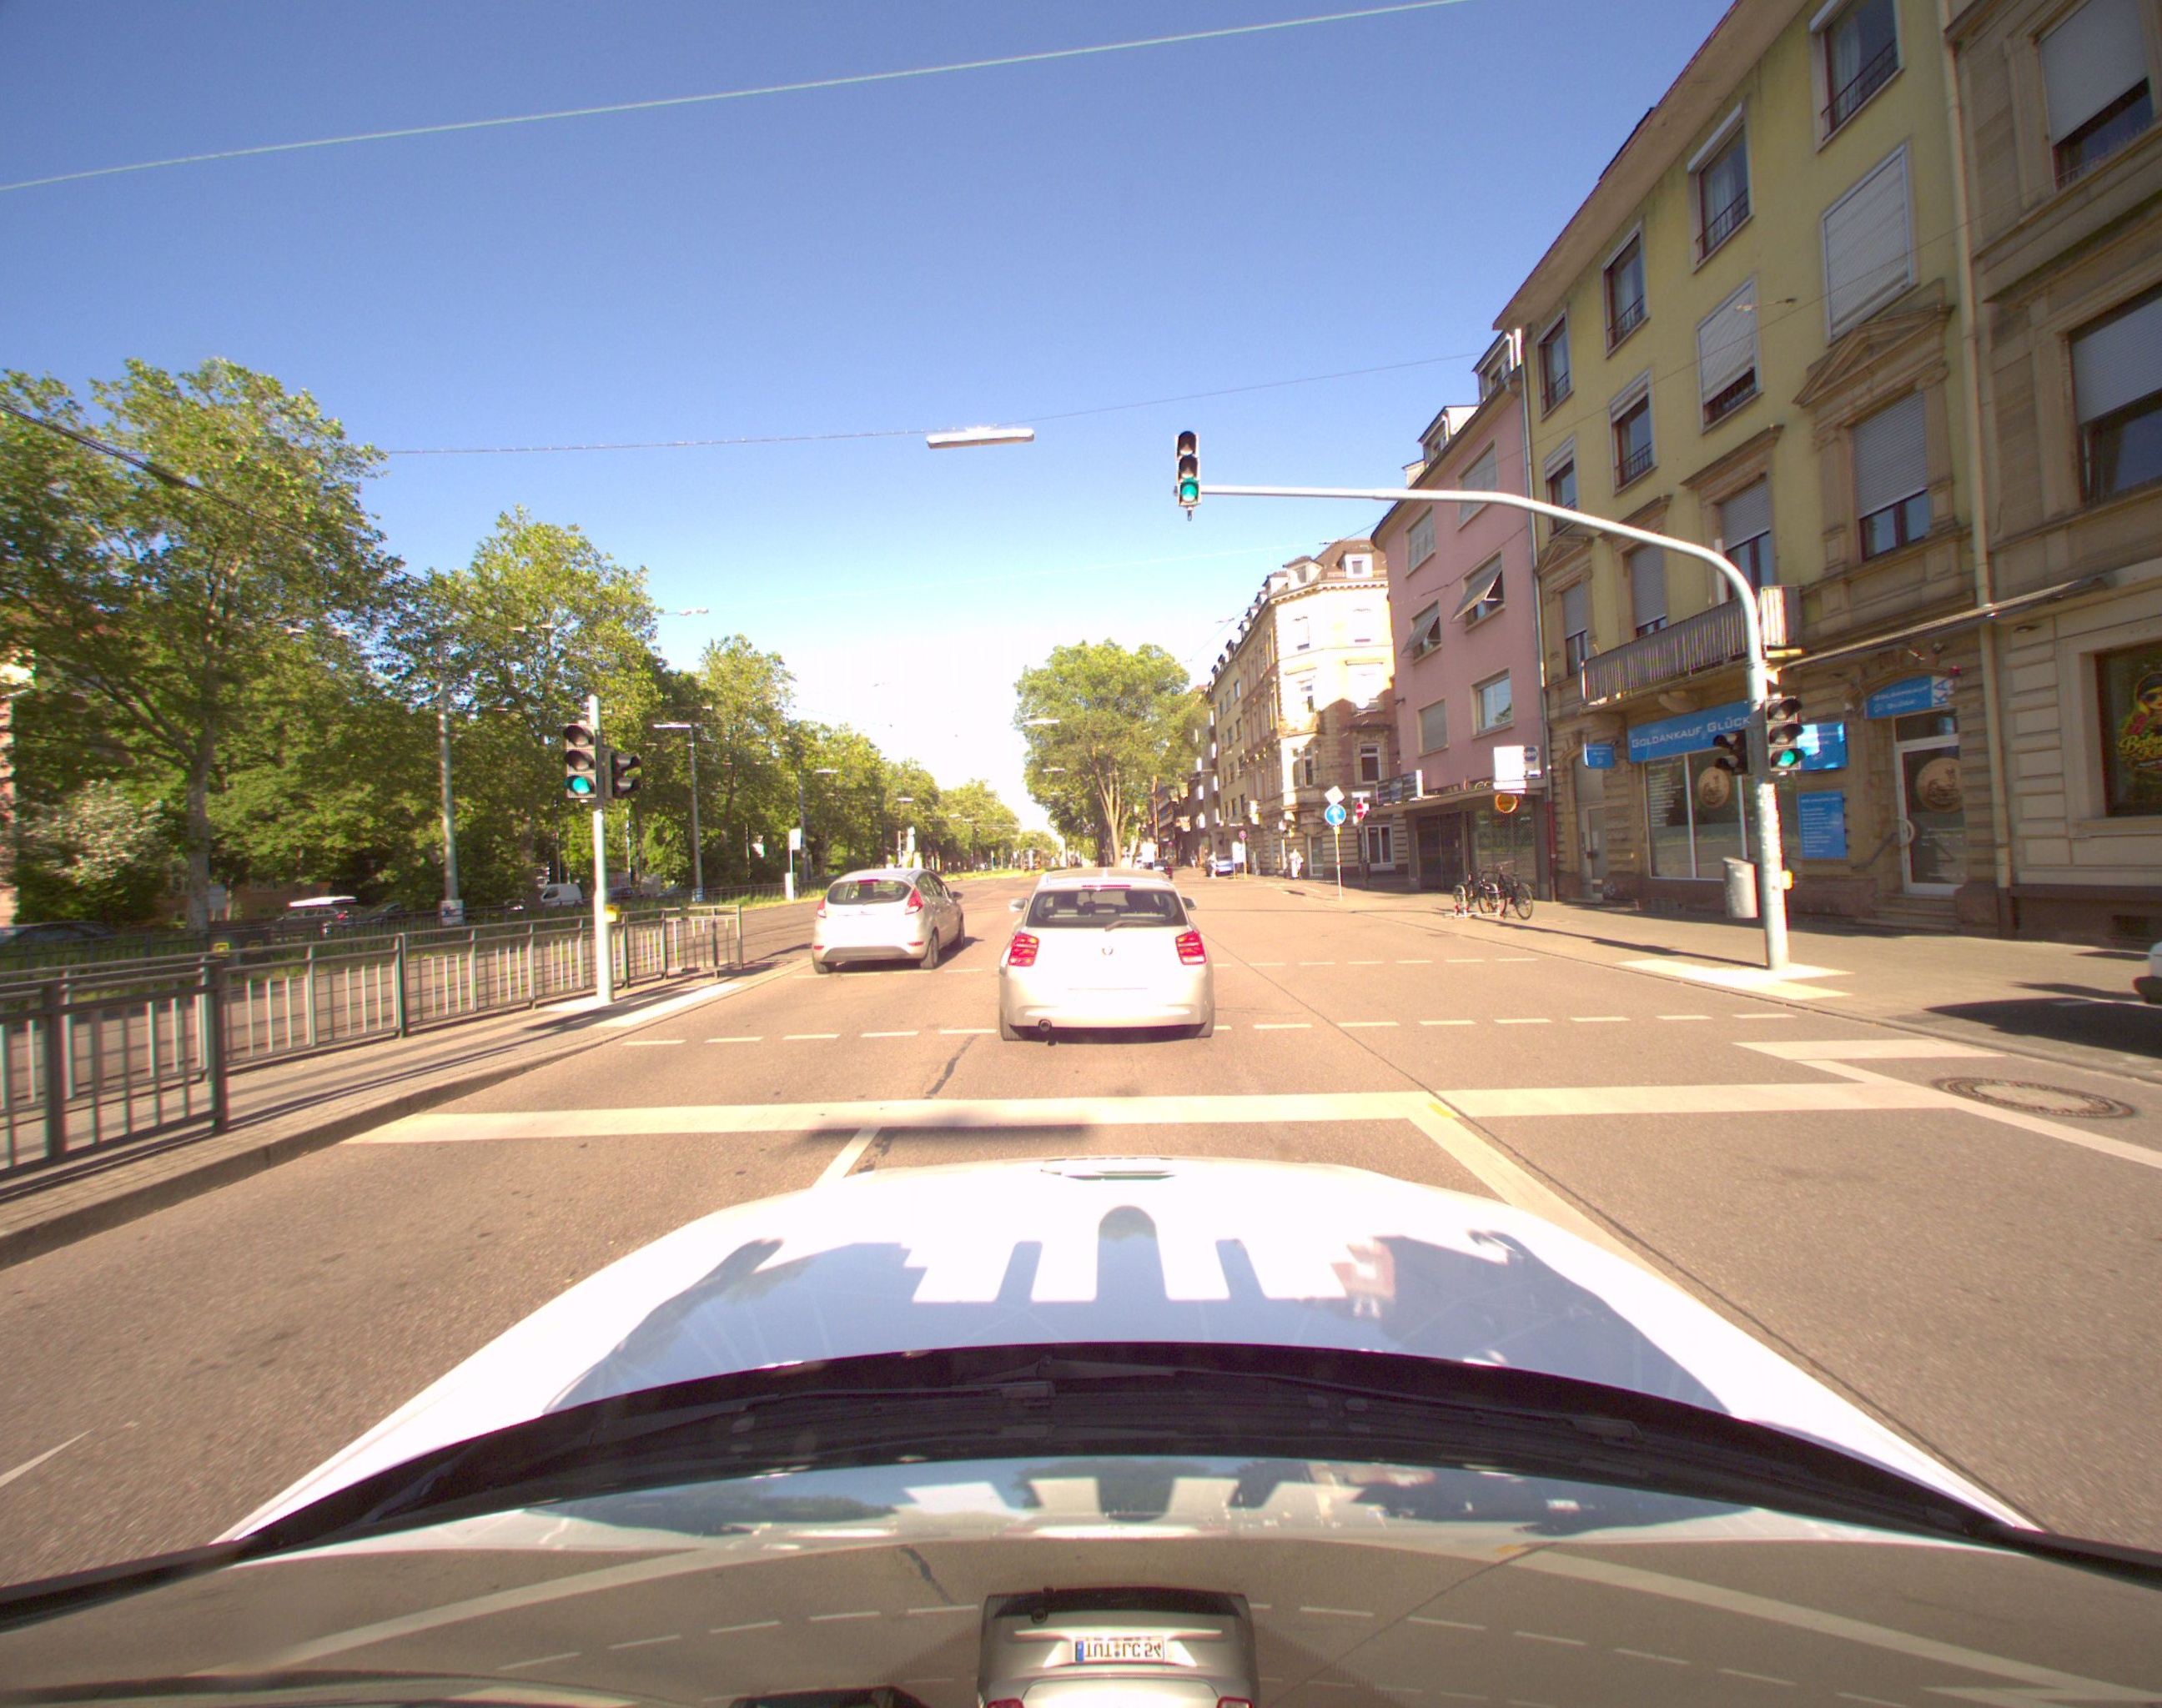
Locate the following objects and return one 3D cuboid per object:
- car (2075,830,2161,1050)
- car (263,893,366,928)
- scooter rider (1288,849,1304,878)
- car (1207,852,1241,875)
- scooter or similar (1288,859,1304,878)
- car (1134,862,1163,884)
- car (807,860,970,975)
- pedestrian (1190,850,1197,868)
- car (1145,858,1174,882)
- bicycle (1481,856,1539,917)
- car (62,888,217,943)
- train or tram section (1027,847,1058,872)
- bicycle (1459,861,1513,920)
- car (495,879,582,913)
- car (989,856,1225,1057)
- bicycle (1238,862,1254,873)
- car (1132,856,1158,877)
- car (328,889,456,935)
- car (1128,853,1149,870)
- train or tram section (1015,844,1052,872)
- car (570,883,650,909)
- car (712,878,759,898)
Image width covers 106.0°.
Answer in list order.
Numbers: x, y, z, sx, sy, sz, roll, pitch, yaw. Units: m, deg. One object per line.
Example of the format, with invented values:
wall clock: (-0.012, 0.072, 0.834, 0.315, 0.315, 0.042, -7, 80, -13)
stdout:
car: (7.804, 0.505, 3.730, 1.557, 1.415, 4.005, -6, 0, 1)
car: (-38.375, 2.826, 40.824, 3.968, 1.494, 1.395, -3, 0, 5)
scooter rider: (11.235, 0.490, 42.596, 0.465, 1.505, 0.809, -2, 0, -6)
car: (10.044, 0.648, 57.441, 1.729, 1.519, 3.637, -1, 0, 1)
scooter or similar: (11.240, 0.754, 42.659, 0.337, 0.988, 1.281, -2, 0, -7)
car: (4.726, 1.295, 57.240, 1.738, 1.433, 3.554, -1, 0, 0)
car: (-2.829, 0.856, 12.784, 1.604, 1.467, 3.888, -2, 0, -1)
pedestrian: (11.488, 0.551, 83.145, 0.503, 1.802, 0.806, -3, -1, 1)
car: (4.950, 0.960, 51.733, 1.728, 1.433, 3.681, -1, 0, 3)
bicycle: (8.847, 0.642, 16.854, 0.446, 1.159, 1.762, -2, 0, 7)
car: (-40.758, 2.607, 35.423, 1.986, 2.013, 4.001, -3, 0, 1)
train or tram section: (-6.576, 0.967, 141.817, 3.990, 3.866, 17.494, -2, 0, 2)
bicycle: (8.352, 0.723, 16.867, 0.411, 1.141, 1.813, -2, 0, 8)
car: (-28.141, 2.129, 42.422, 1.664, 1.509, 4.144, -2, 0, 0)
car: (0.243, 0.772, 8.038, 1.734, 1.467, 4.001, -1, 0, 1)
bicycle: (11.697, 0.938, 57.762, 0.752, 0.770, 1.945, -2, 0, 0)
car: (4.906, 0.945, 62.908, 1.719, 1.507, 3.554, -1, 0, 0)
car: (-28.039, 2.312, 33.341, 1.664, 1.509, 4.144, -3, 0, 0)
car: (5.300, 0.734, 75.707, 1.719, 1.507, 3.554, -1, 0, 0)
train or tram section: (-7.107, 0.640, 124.206, 3.954, 3.866, 17.494, -2, 0, 2)
car: (-27.917, 2.472, 48.488, 1.930, 1.349, 4.848, -2, -1, 0)
car: (-28.228, 2.750, 66.718, 1.930, 1.509, 4.278, -2, -1, 0)
